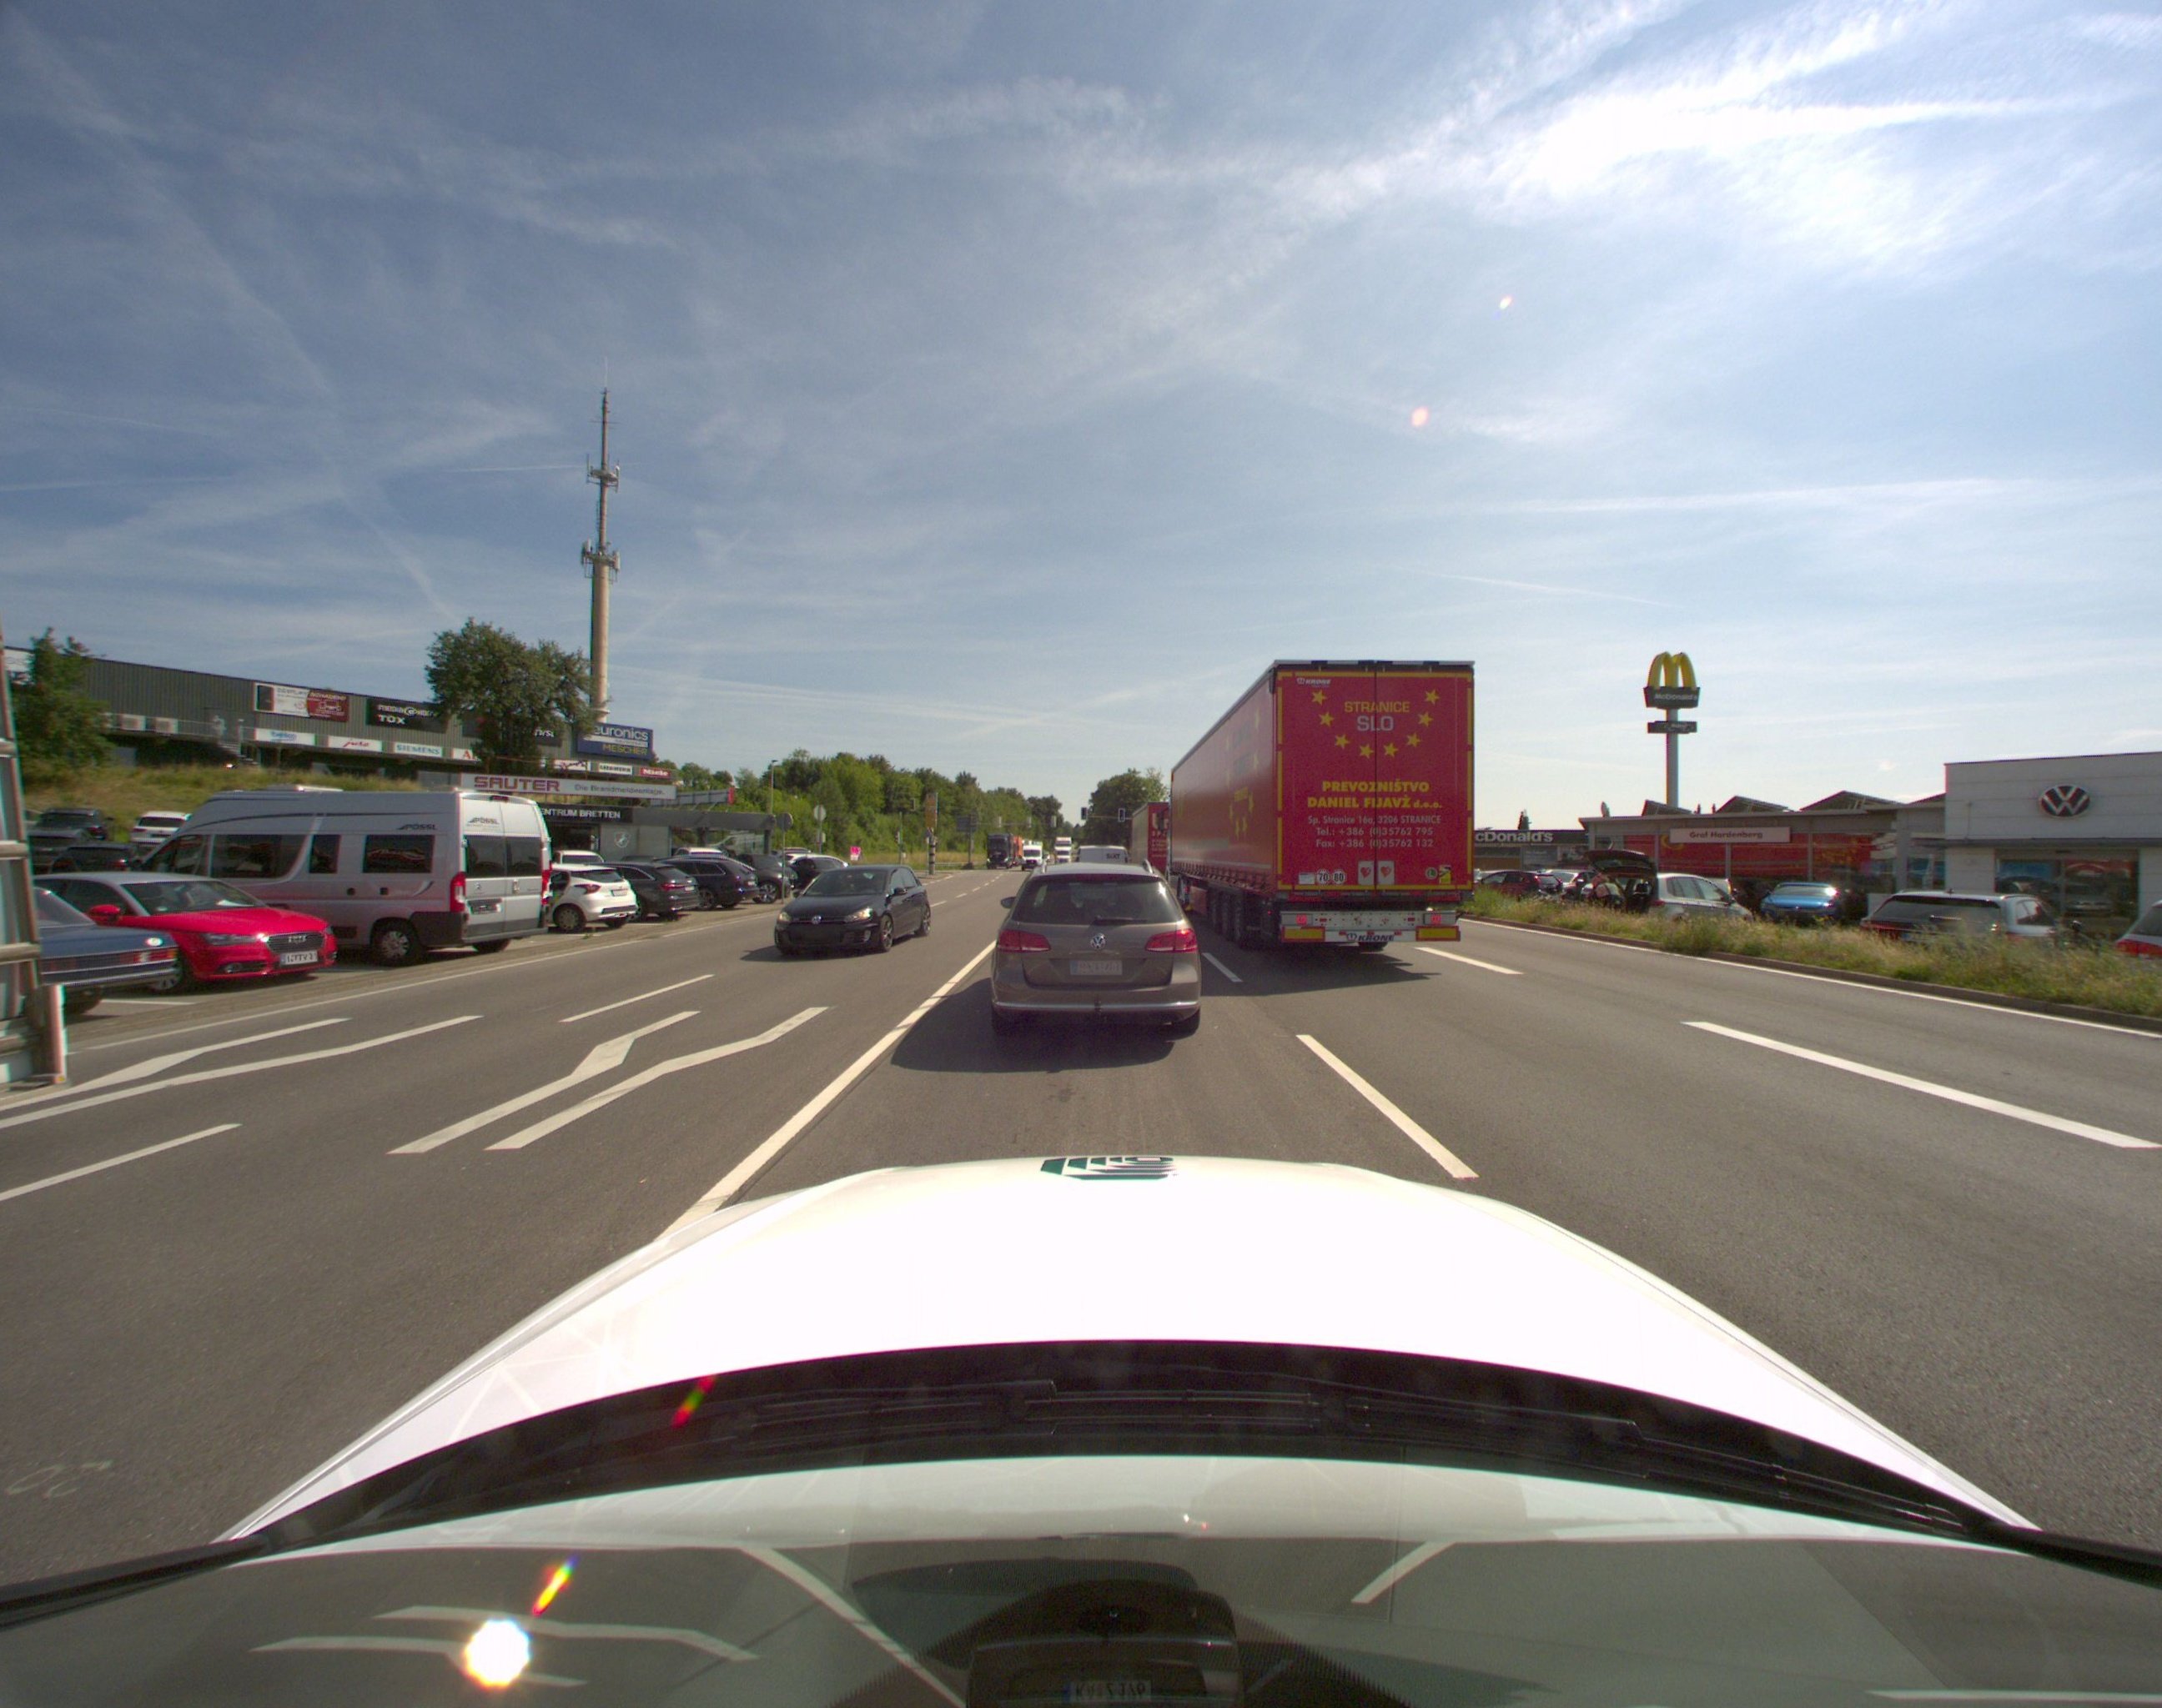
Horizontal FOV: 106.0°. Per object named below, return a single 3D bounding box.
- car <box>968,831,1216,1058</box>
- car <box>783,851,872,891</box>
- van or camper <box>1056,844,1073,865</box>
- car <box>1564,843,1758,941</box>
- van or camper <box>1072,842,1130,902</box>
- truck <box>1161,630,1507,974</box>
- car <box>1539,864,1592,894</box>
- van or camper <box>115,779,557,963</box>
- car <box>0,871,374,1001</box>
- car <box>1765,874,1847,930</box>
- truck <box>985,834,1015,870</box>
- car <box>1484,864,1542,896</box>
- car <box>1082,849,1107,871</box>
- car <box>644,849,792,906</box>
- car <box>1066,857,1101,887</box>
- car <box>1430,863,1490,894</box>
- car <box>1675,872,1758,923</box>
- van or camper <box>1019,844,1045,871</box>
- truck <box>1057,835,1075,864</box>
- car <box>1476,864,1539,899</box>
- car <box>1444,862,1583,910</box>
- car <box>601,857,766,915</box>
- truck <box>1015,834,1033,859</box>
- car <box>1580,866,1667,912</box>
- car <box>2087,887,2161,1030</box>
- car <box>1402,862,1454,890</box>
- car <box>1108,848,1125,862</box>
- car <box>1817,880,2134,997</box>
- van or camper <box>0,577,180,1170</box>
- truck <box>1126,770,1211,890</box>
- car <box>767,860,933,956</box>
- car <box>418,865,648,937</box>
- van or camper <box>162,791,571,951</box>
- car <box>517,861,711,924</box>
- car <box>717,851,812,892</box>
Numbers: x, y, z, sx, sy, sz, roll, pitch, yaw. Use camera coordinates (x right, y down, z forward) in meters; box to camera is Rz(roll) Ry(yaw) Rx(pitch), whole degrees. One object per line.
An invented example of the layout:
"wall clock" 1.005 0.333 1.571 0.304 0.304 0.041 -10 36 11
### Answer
"car" 0.200 0.671 7.681 1.782 1.638 3.507 -1 0 4
"car" -11.557 0.749 36.947 2.143 1.693 4.473 -1 0 -43
"van or camper" -2.255 0.093 113.765 2.216 2.841 5.711 0 -1 1
"car" 12.410 0.738 17.433 3.851 1.921 1.689 0 0 -24
"van or camper" 0.661 0.568 27.795 1.846 1.906 3.784 0 0 0
"truck" 3.945 -0.653 18.387 2.947 4.269 16.586 0 0 1
"car" 26.423 1.332 44.377 1.666 1.531 3.618 0 0 44
"van or camper" -11.883 0.262 13.296 5.225 2.731 2.211 0 0 2
"car" -11.870 1.009 10.688 3.580 1.480 1.813 -1 0 1
"car" 23.161 1.477 25.984 3.808 1.557 1.682 0 0 -44
"truck" -8.877 -0.221 89.784 2.806 3.786 6.982 -2 0 -3
"car" 22.208 1.295 41.834 1.666 1.531 3.618 0 0 44
"car" 0.976 0.429 58.073 1.720 1.519 3.314 0 -1 2
"car" -11.399 0.718 25.742 3.804 1.675 1.842 -1 0 0
"car" 0.179 0.917 42.509 1.720 1.519 3.313 0 -1 2
"car" 19.658 1.236 42.189 1.747 1.531 3.651 0 0 44
"car" 21.863 1.431 27.956 1.781 1.531 4.252 0 0 44
"van or camper" -4.630 0.345 77.891 2.166 2.551 4.170 0 0 0
"truck" -2.314 -0.732 128.375 2.544 4.307 7.596 -1 0 1
"car" 20.075 1.240 38.305 1.666 1.531 3.618 0 0 44
"car" 15.341 1.066 29.107 2.005 1.531 3.964 0 0 -28
"car" -11.350 0.882 23.452 3.804 1.539 1.842 -1 0 0
"truck" -9.059 -1.182 129.418 2.527 3.786 6.982 -2 0 -3
"car" 20.082 1.241 30.084 1.975 1.531 4.023 0 0 44
"car" 12.850 1.088 8.665 3.849 1.399 1.690 0 0 -23
"car" 20.194 1.268 47.375 1.743 1.531 3.285 0 0 44
"car" 3.916 0.094 90.173 1.721 1.519 3.312 0 -1 0
"car" 12.965 1.128 11.843 3.844 1.399 1.692 0 0 -18
"van or camper" -6.740 0.119 2.046 2.199 3.056 5.905 -2 0 2
"truck" 4.296 -1.046 44.099 3.052 5.220 17.009 0 0 1
"car" -3.914 0.845 14.519 1.659 1.409 3.928 -2 0 2
"car" -12.010 0.998 18.053 3.804 1.448 1.842 -1 0 0
"van or camper" -13.560 0.292 15.773 5.871 2.873 2.290 0 0 1
"car" -11.727 0.941 20.640 3.804 1.448 1.842 -1 0 0
"car" -13.830 0.748 35.566 3.780 1.693 1.854 -1 0 30
